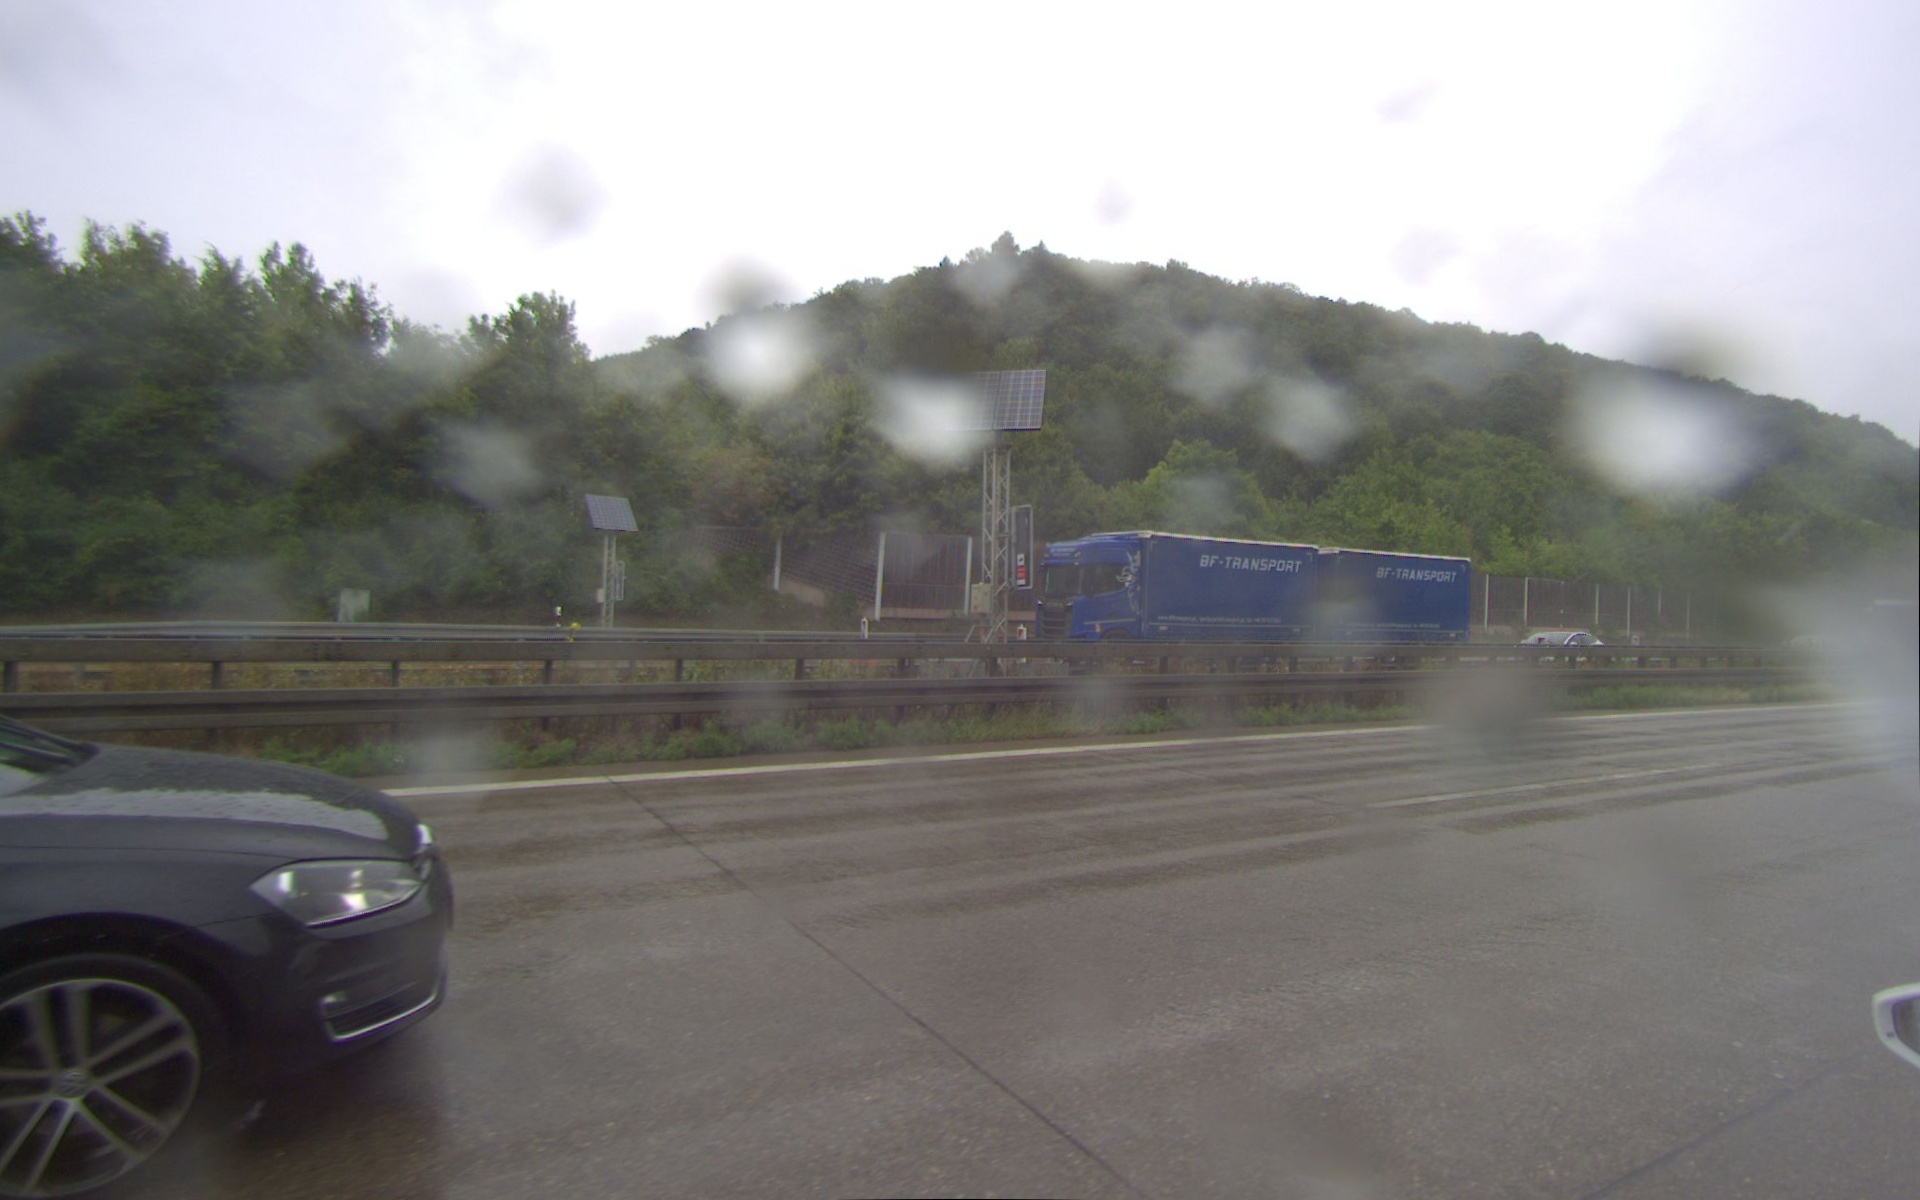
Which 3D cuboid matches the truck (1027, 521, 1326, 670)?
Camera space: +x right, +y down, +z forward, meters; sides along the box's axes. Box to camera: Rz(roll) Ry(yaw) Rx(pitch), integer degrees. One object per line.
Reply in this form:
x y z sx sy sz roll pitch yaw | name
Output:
7.146 -0.026 32.202 10.061 4.210 2.834 2 1 -31 | truck

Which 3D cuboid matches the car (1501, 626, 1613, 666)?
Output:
22.277 1.699 37.446 4.374 1.357 1.743 2 1 -31 | car

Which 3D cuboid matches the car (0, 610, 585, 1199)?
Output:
-3.360 0.713 2.509 4.274 1.406 1.731 2 -2 -33 | car

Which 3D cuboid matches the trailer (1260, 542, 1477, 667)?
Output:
15.132 0.227 36.983 8.426 4.210 2.834 2 1 -31 | trailer

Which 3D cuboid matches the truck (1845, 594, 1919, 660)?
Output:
58.648 1.671 62.650 7.589 3.852 2.762 2 1 -30 | truck
